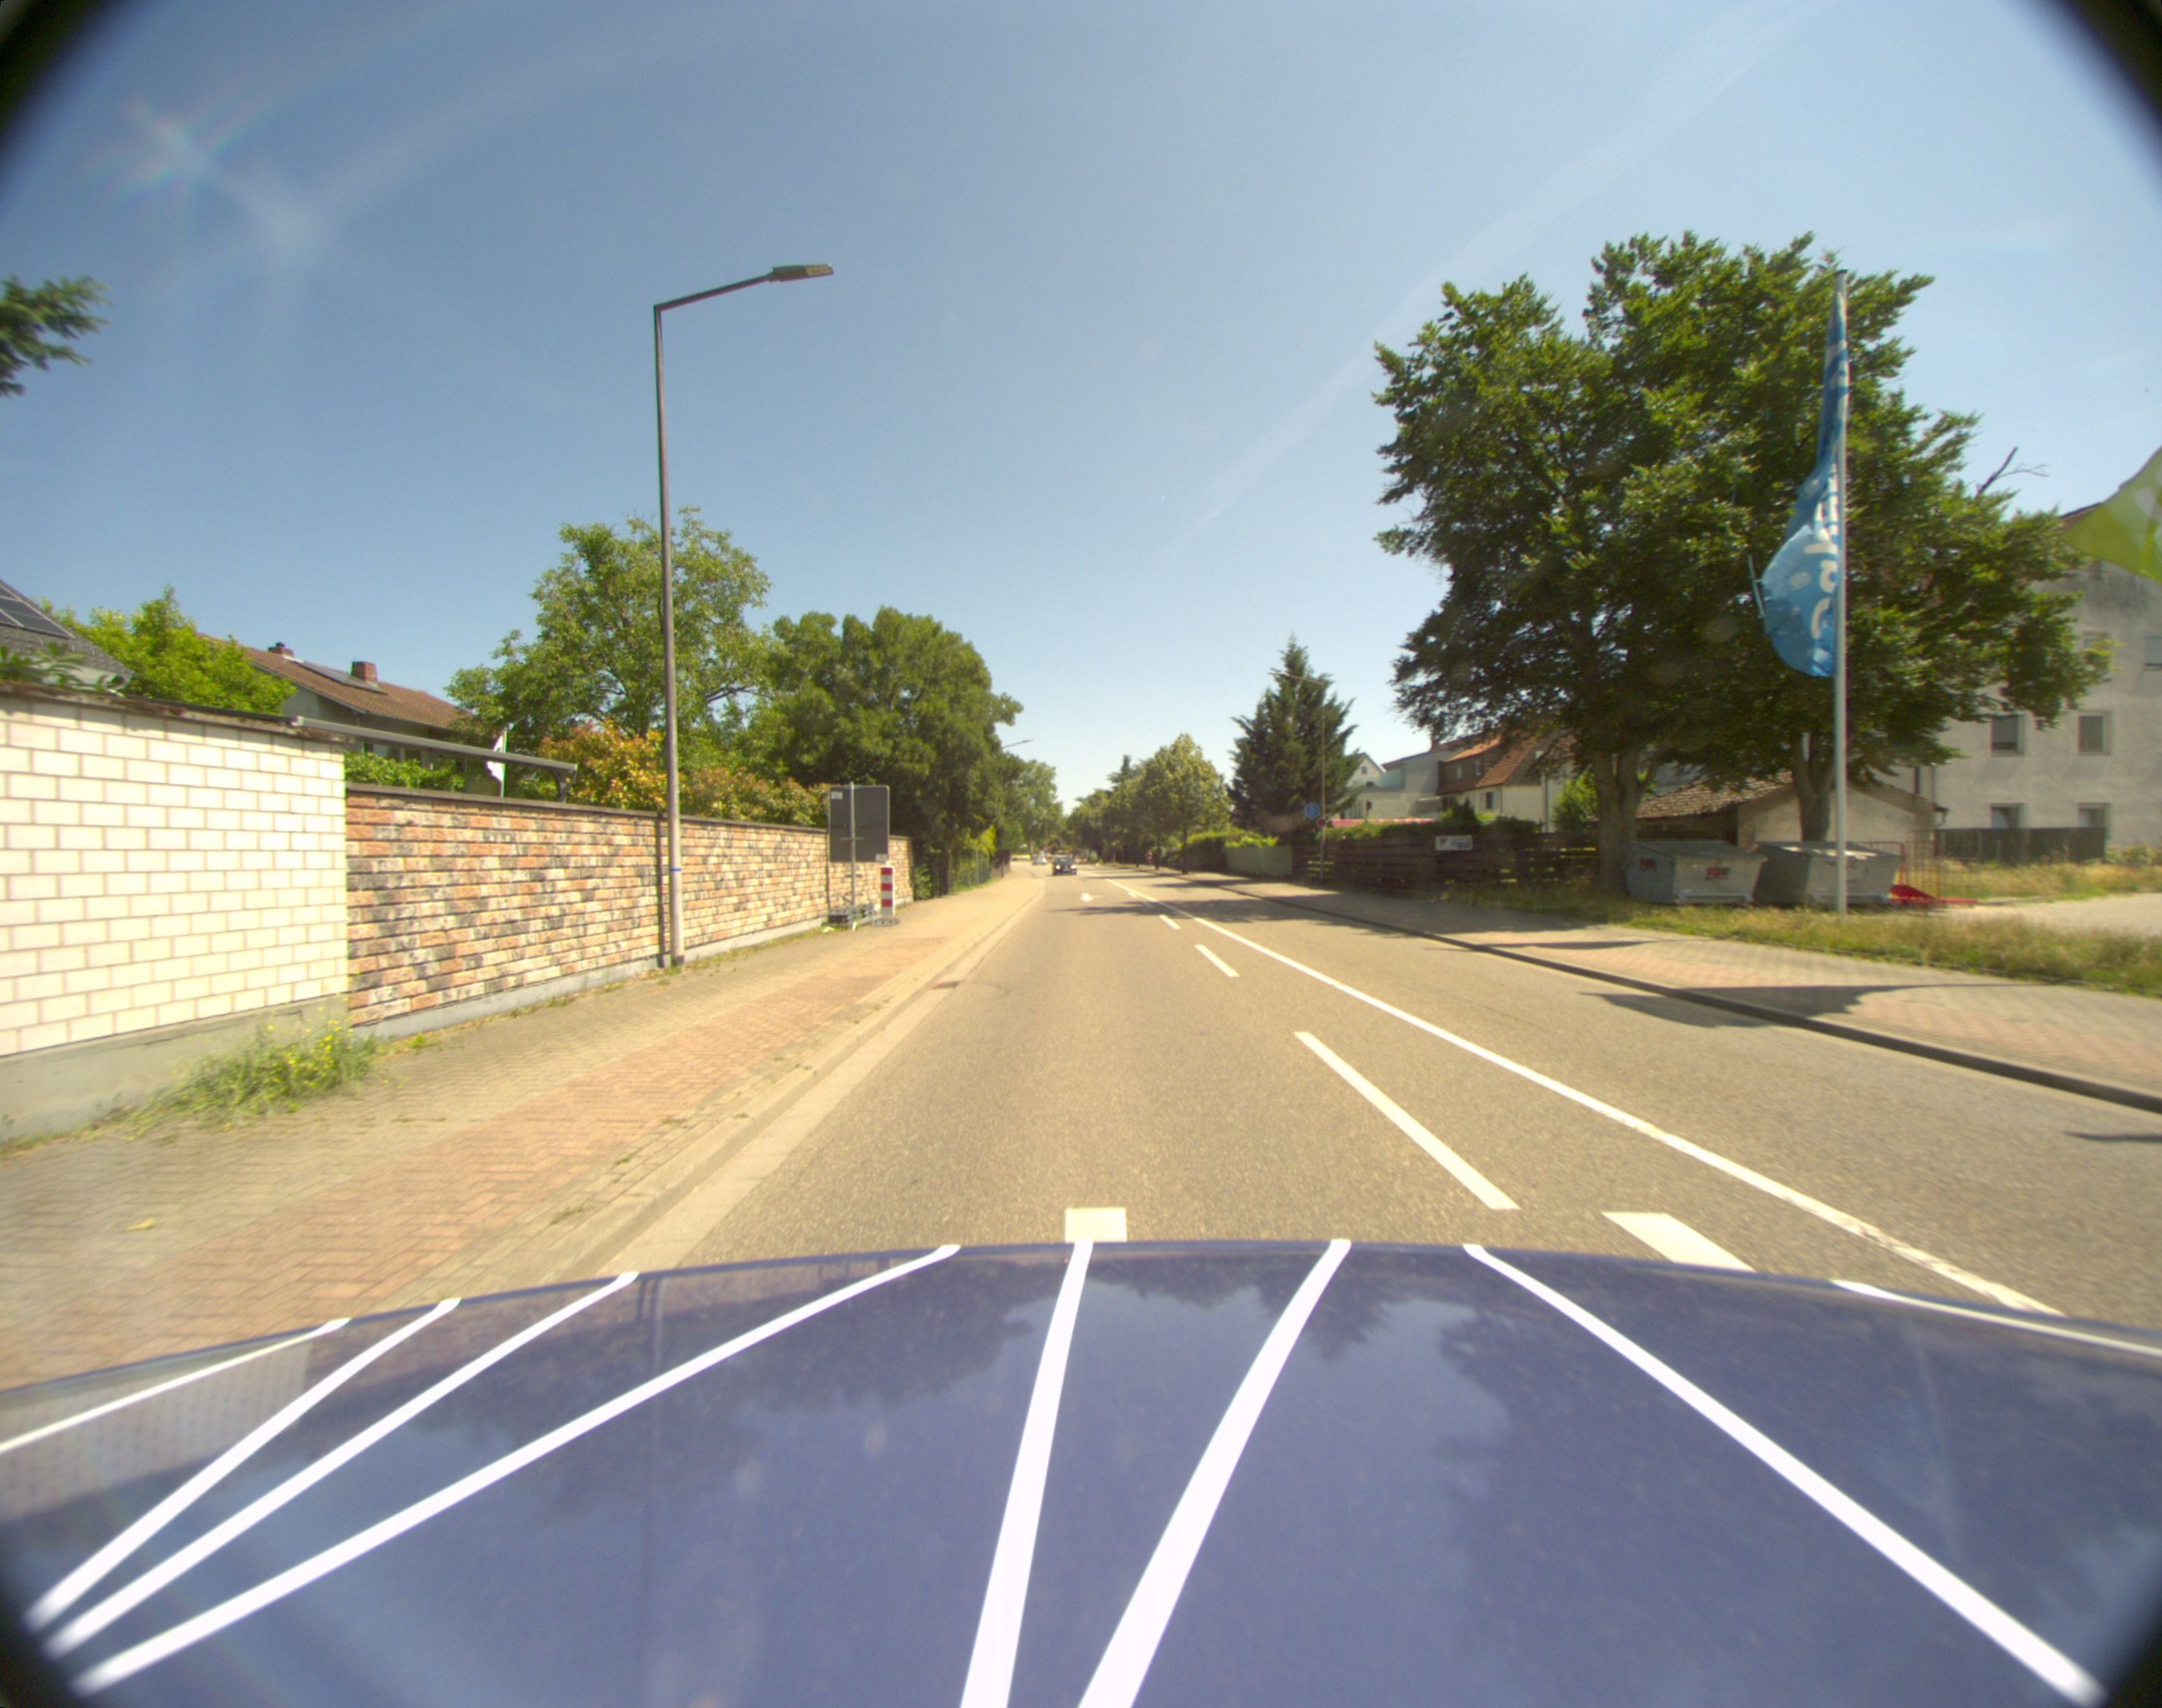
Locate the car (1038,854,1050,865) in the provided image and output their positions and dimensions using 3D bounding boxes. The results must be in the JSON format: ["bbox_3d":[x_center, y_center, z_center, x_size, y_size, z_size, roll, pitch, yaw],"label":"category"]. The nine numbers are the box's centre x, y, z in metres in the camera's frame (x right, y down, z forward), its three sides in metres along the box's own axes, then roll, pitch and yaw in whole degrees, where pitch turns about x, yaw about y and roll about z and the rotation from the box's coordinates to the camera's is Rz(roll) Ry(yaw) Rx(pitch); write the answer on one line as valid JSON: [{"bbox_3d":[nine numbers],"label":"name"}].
[{"bbox_3d":[-5.456,0.776,111.509,1.617,1.474,3.705,-1,0,-4],"label":"car"}]

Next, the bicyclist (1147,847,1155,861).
[{"bbox_3d":[6.988,0.043,76.003,0.630,1.400,0.676,0,1,-4],"label":"bicyclist"}]

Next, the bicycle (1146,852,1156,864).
[{"bbox_3d":[7.000,0.376,75.981,0.634,1.173,1.815,0,0,-4],"label":"bicycle"}]

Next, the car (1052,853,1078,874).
[{"bbox_3d":[-1.285,0.709,58.657,1.608,1.436,3.906,-2,1,-7],"label":"car"}]
